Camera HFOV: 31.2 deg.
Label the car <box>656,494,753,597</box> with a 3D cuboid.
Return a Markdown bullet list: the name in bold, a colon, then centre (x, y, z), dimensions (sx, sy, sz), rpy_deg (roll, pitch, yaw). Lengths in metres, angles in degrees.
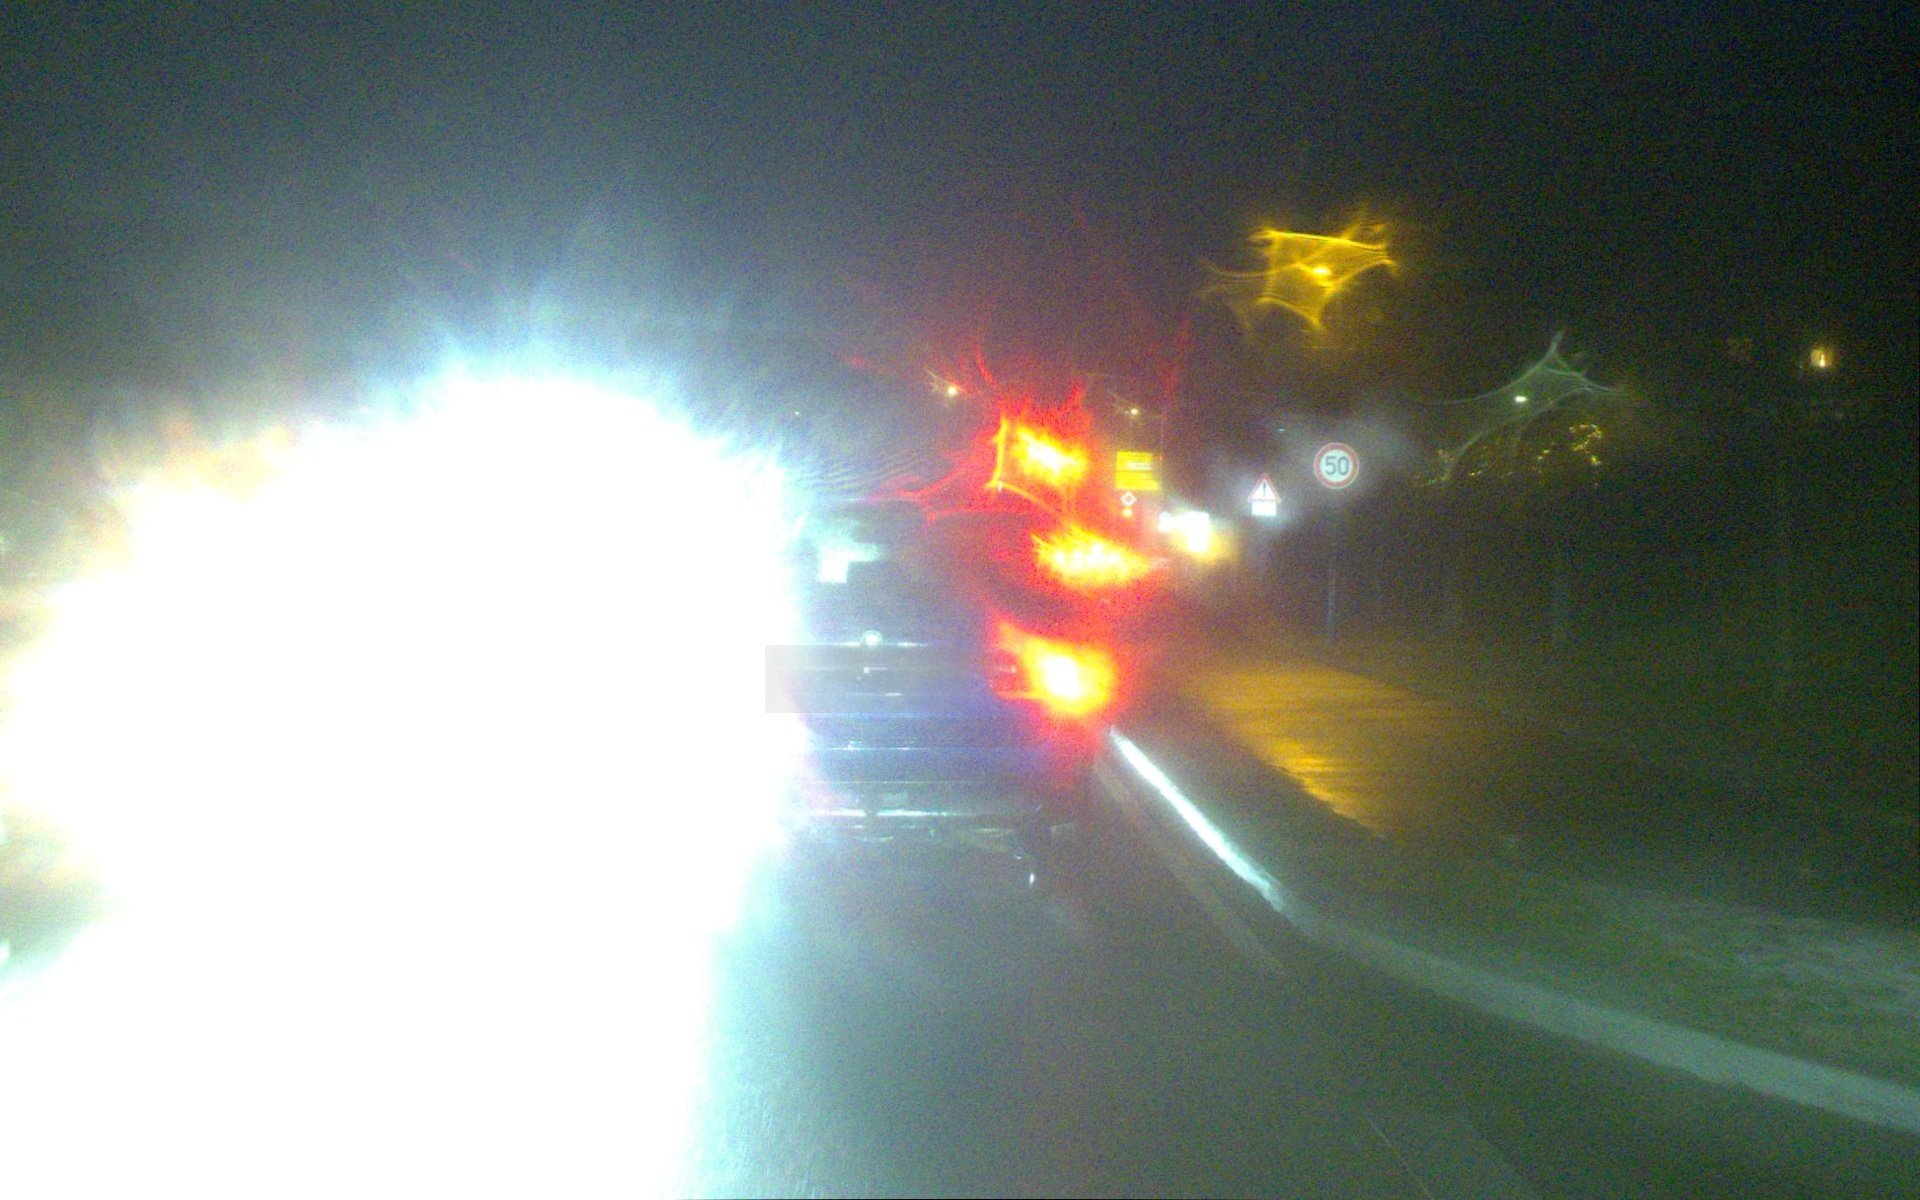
- **car**: centre (-6.962, -1.502, 94.233), dimensions (2.122, 2.698, 6.240), rpy_deg (1, 1, 1)

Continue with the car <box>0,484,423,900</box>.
- **car**: centre (-3.762, 0.323, 16.017), dimensions (1.844, 1.663, 4.445), rpy_deg (0, 1, 0)

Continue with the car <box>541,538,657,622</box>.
- **car**: centre (-6.687, -0.388, 63.953), dimensions (1.720, 1.502, 3.828), rpy_deg (1, 1, 0)

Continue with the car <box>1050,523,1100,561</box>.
- **car**: centre (4.537, -2.264, 135.393), dimensions (1.663, 1.445, 4.049), rpy_deg (0, 0, 6)

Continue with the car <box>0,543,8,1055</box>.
- **car**: centre (-3.510, 0.606, 7.976), dimensions (1.622, 1.468, 3.885), rpy_deg (0, 1, -2)

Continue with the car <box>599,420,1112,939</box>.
- **car**: centre (-0.442, 0.266, 15.247), dimensions (1.942, 1.965, 4.218), rpy_deg (1, 1, -1)

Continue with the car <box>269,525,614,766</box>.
- **car**: centre (-3.633, 0.251, 24.852), dimensions (1.844, 1.569, 4.597), rpy_deg (0, 1, -1)

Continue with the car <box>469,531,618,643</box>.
- **car**: centre (-6.328, -0.235, 52.662), dimensions (1.805, 1.624, 4.416), rpy_deg (1, 1, -1)

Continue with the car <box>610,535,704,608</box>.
- **car**: centre (-6.814, -0.673, 77.585), dimensions (1.720, 1.583, 4.312), rpy_deg (1, 1, 0)
